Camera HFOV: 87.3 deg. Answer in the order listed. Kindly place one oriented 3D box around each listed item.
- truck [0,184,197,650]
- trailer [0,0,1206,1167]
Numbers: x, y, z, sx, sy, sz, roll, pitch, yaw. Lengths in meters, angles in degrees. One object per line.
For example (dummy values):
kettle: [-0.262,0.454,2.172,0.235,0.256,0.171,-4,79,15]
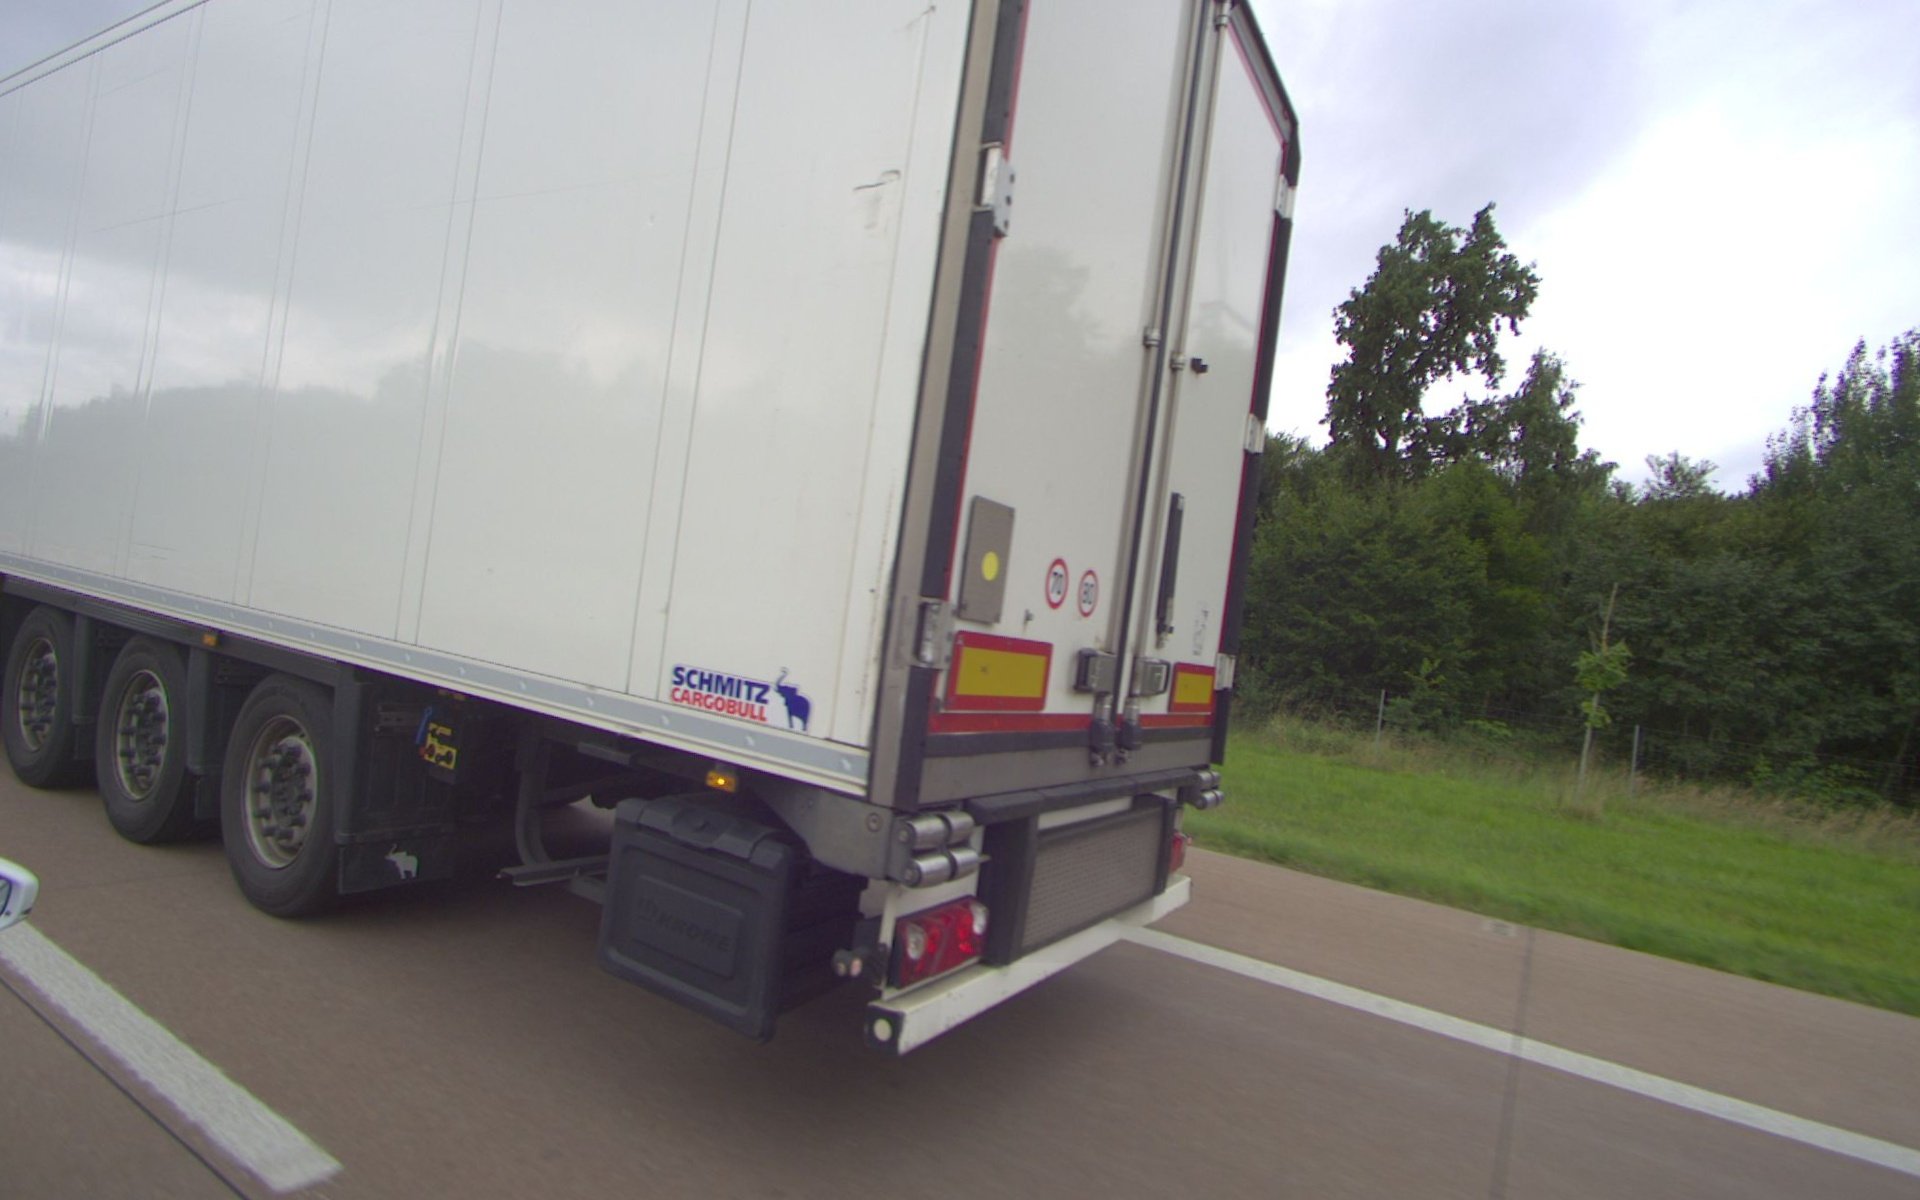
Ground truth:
truck: [-11.456,-2.003,10.966,5.246,4.345,2.926,7,-1,31]
trailer: [-5.445,-1.292,7.236,13.387,4.345,2.926,7,-1,32]
